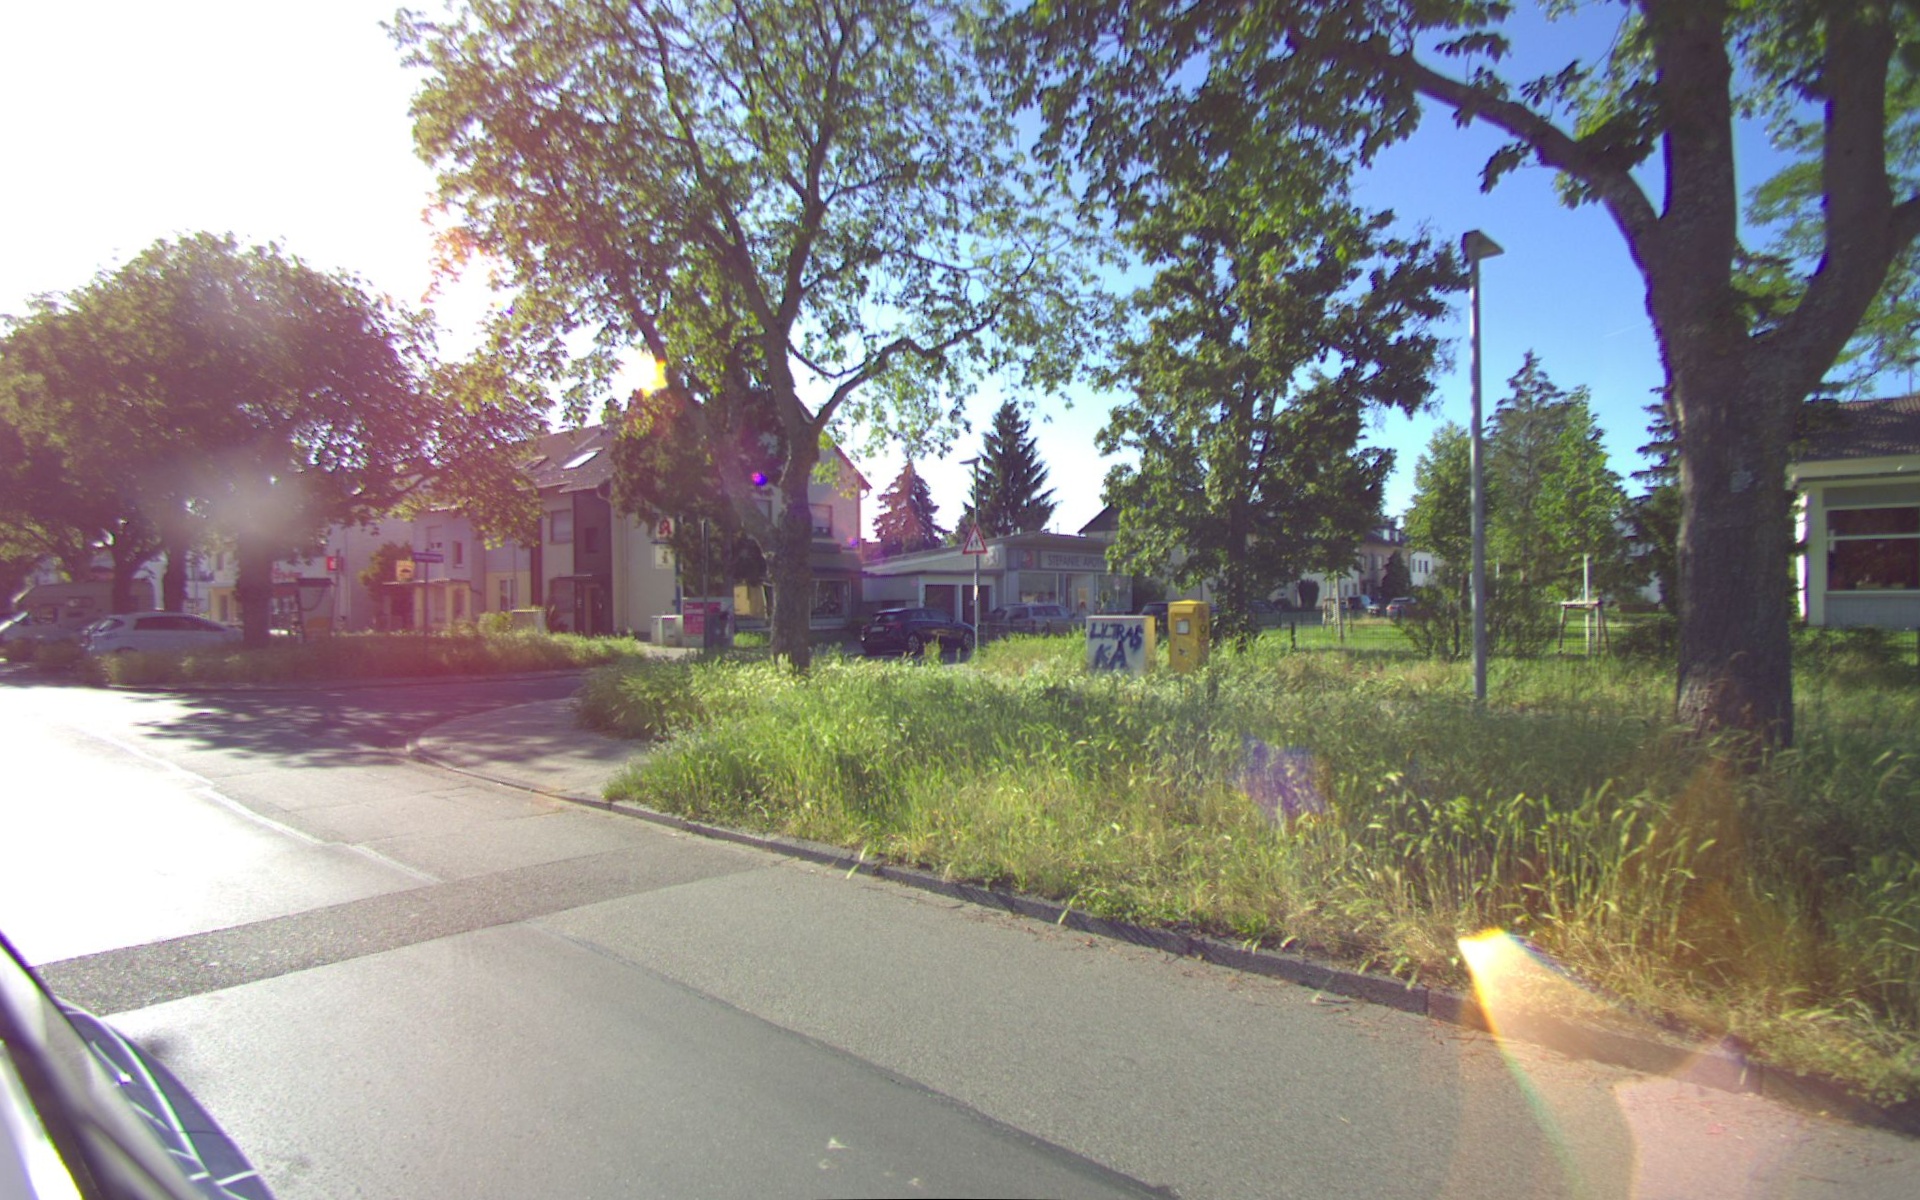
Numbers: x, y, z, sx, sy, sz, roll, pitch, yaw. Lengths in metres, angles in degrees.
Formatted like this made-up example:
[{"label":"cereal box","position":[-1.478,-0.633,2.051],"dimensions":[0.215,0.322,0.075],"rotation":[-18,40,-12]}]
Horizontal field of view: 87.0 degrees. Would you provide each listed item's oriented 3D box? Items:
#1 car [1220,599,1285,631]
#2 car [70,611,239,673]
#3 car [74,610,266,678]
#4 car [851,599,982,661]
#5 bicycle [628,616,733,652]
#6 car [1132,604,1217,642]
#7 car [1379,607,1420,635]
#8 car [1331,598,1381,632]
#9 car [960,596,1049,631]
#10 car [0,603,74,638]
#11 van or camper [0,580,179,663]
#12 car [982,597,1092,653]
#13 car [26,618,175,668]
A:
[{"label":"car","position":[14.998,0.763,51.793],"dimensions":[1.818,1.551,3.818],"rotation":[-1,-1,39]},{"label":"car","position":[-26.311,1.311,33.146],"dimensions":[1.999,1.600,3.948],"rotation":[-1,3,40]},{"label":"car","position":[-22.262,1.183,28.630],"dimensions":[1.965,1.673,3.947],"rotation":[-1,0,40]},{"label":"car","position":[-1.286,0.881,31.165],"dimensions":[1.821,1.727,3.946],"rotation":[-1,0,41]},{"label":"bicycle","position":[-9.719,1.201,35.140],"dimensions":[4.033,1.185,0.700],"rotation":[-2,-1,25]},{"label":"car","position":[9.518,0.983,44.735],"dimensions":[1.999,1.551,3.945],"rotation":[-1,-1,41]},{"label":"car","position":[33.714,1.569,77.622],"dimensions":[1.997,2.029,3.950],"rotation":[-1,0,37]},{"label":"car","position":[26.183,0.968,66.878],"dimensions":[1.997,1.962,3.950],"rotation":[-1,3,38]},{"label":"car","position":[2.024,0.622,46.246],"dimensions":[3.755,1.530,1.781],"rotation":[-1,0,39]},{"label":"car","position":[-54.583,1.225,58.258],"dimensions":[1.997,1.740,5.015],"rotation":[-1,3,37]},{"label":"van or camper","position":[-34.644,0.762,39.894],"dimensions":[2.000,2.825,5.714],"rotation":[0,3,43]},{"label":"car","position":[2.835,0.864,36.662],"dimensions":[1.999,1.834,3.946],"rotation":[-1,0,41]},{"label":"car","position":[-32.328,1.579,38.162],"dimensions":[1.998,1.469,3.948],"rotation":[-1,3,39]}]
